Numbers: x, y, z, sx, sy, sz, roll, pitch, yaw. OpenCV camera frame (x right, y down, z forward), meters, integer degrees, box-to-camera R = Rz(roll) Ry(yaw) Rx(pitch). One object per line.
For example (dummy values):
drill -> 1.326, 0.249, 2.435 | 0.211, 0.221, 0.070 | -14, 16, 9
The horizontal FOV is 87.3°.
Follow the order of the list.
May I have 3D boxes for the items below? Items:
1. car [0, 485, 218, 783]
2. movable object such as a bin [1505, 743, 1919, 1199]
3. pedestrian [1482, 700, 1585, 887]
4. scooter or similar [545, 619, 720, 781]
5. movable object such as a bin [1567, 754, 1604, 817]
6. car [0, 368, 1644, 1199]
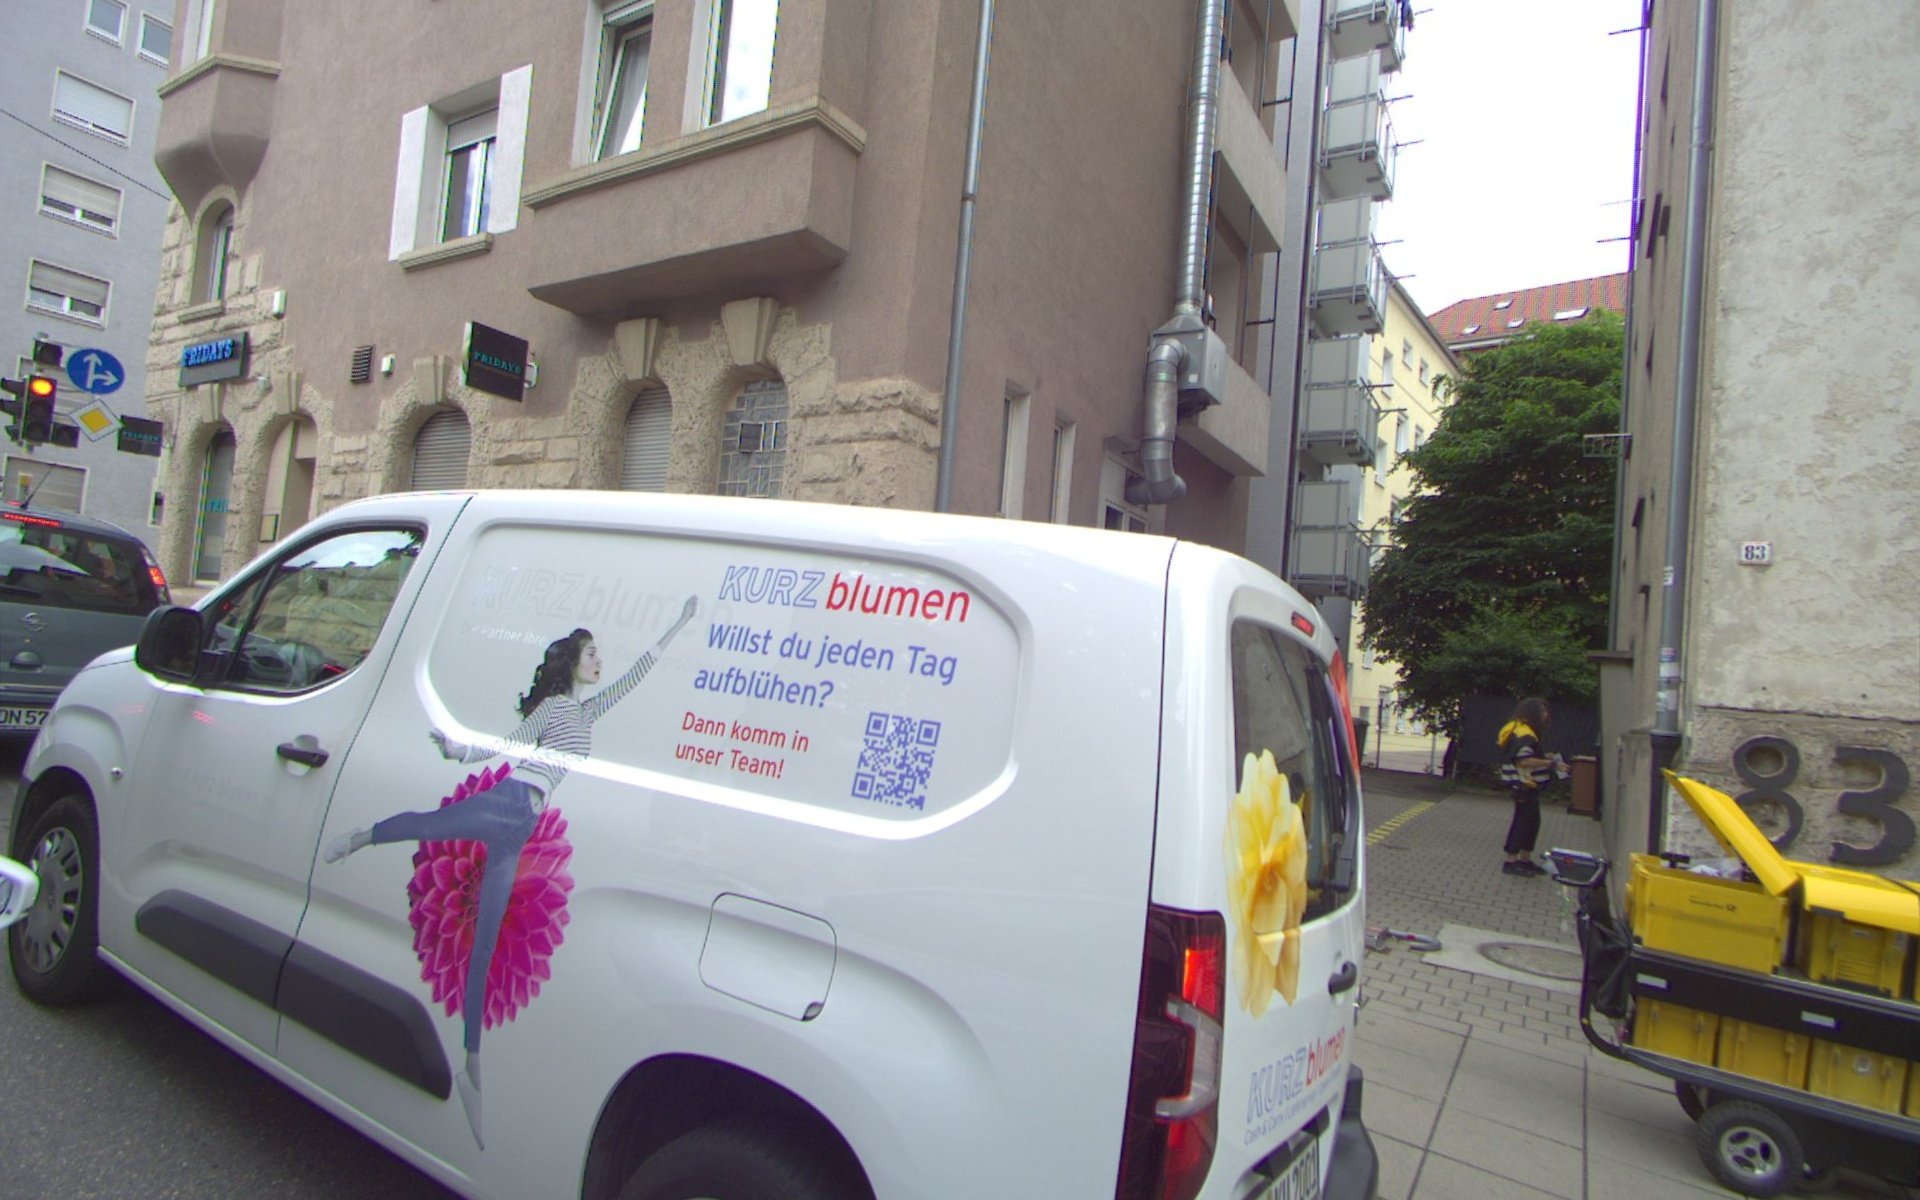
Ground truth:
car -> -6.711, 0.044, 6.531 | 3.608, 1.614, 1.634 | 6, -5, 32
movable object such as a bin -> 3.364, 1.452, 3.992 | 1.979, 1.391, 1.223 | 6, -1, 30
pedestrian -> 5.554, 1.826, 9.785 | 0.770, 1.665, 0.811 | 1, -3, 24
scooter or similar -> -2.735, 0.804, 8.348 | 1.400, 1.117, 0.527 | 6, -1, 34
movable object such as a bin -> 9.930, 2.941, 15.983 | 0.405, 0.922, 0.340 | 6, -1, 32
car -> -0.851, 0.557, 3.115 | 4.597, 1.793, 1.983 | 6, -5, 30
